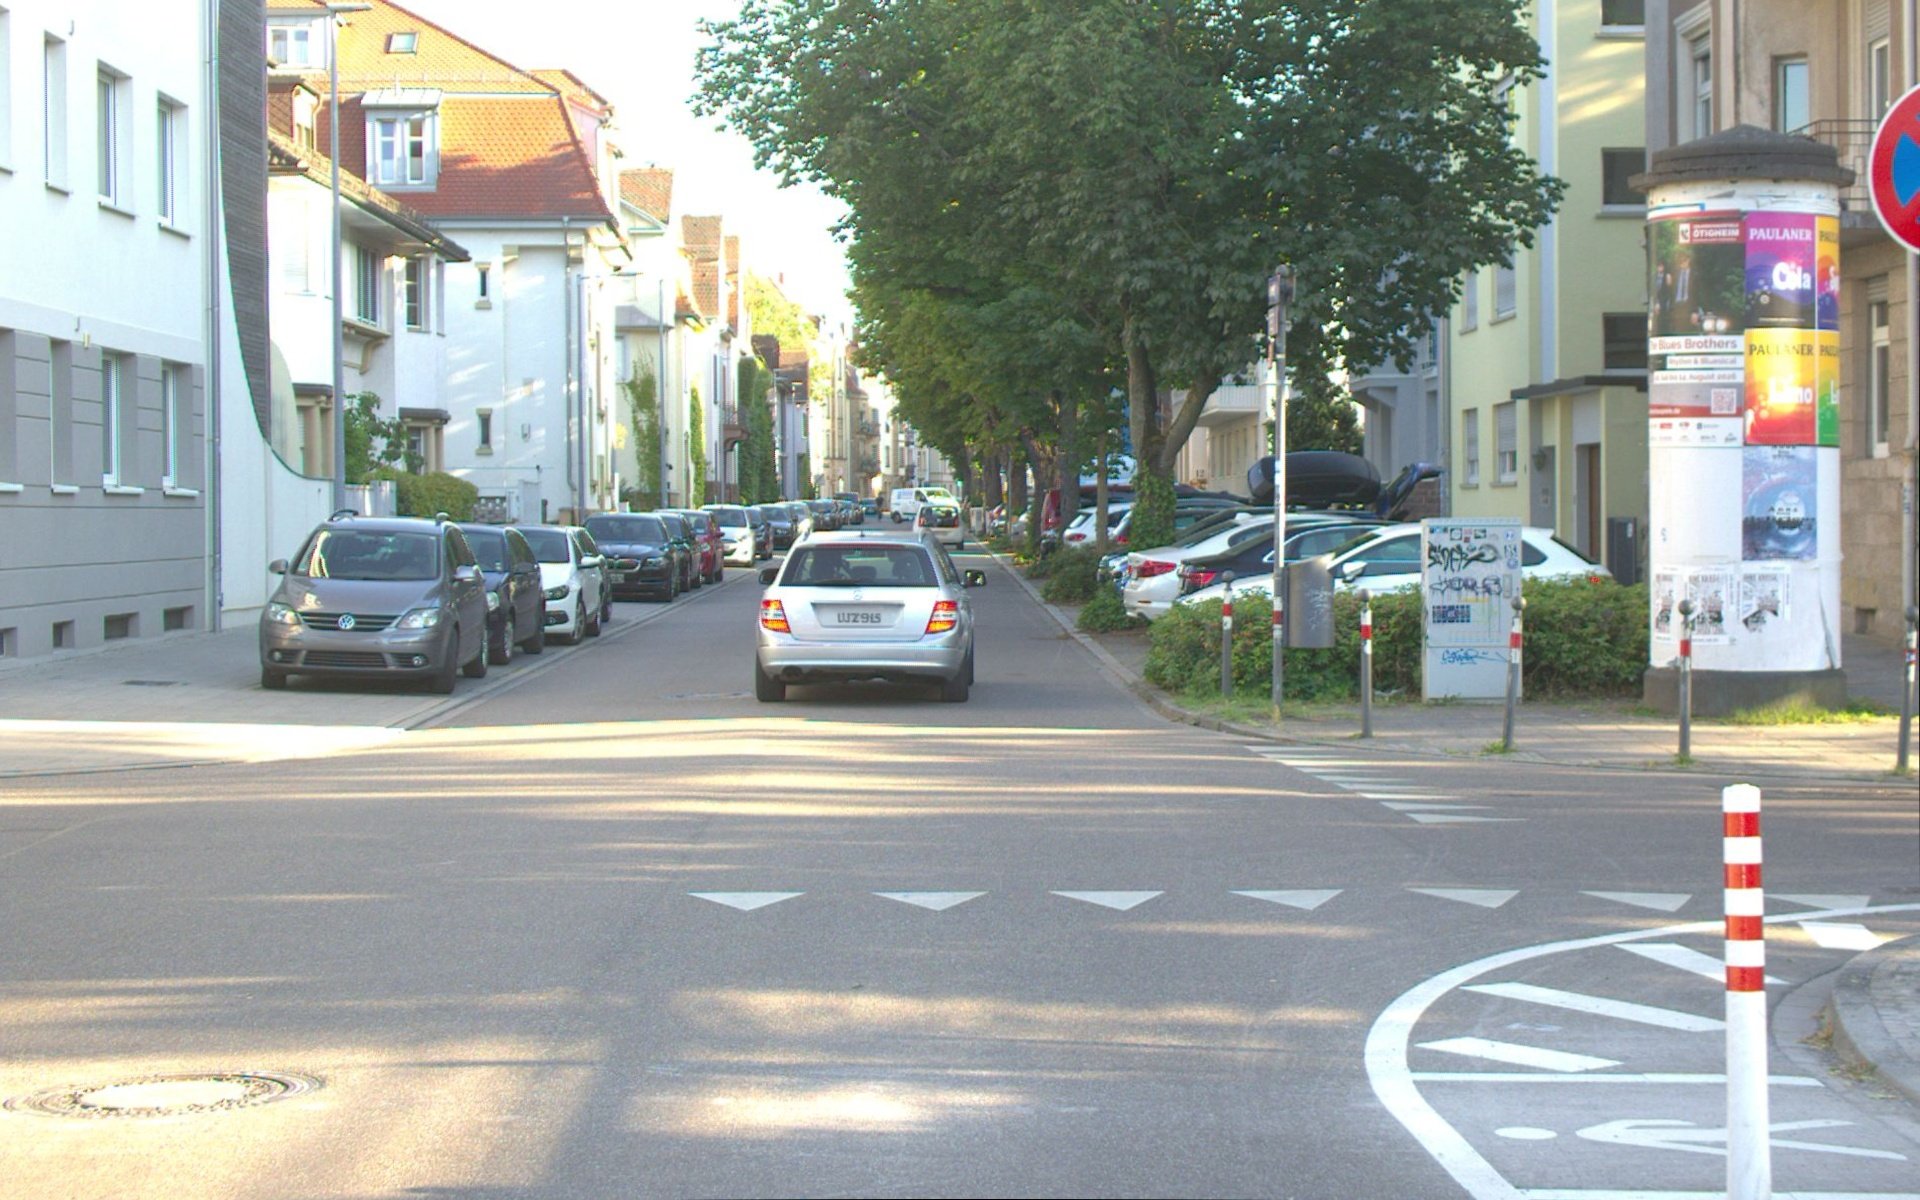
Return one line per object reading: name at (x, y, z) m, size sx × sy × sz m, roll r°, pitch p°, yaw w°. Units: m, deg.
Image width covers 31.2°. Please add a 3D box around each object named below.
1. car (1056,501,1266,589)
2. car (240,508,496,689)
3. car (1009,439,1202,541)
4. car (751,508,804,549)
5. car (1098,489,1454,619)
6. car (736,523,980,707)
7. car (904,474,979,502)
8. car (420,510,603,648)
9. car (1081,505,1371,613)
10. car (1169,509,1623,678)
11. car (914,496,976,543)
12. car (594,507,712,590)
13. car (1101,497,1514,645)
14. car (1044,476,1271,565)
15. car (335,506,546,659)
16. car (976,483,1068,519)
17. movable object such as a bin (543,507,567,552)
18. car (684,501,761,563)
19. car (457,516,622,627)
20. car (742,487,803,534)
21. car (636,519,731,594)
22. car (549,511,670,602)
car at (3.698, -1.028, 63.536) m, size 3.730 × 1.553 × 1.725 m, roll -1°, pitch 2°, yaw -1°
car at (-5.510, -0.072, 32.458) m, size 1.884 × 1.585 × 4.091 m, roll 0°, pitch 2°, yaw -3°
car at (4.332, -3.302, 102.990) m, size 5.541 × 2.958 × 2.472 m, roll -1°, pitch 2°, yaw -2°
car at (-6.845, -2.699, 129.189) m, size 1.799 × 1.477 × 3.857 m, roll 0°, pitch 2°, yaw 0°
car at (4.164, -0.634, 45.816) m, size 4.526 × 1.635 × 1.874 m, roll -1°, pitch 2°, yaw -1°
car at (-0.806, 0.080, 29.623) m, size 1.817 × 1.468 × 4.216 m, roll 0°, pitch 1°, yaw 2°
car at (-1.029, -6.072, 186.607) m, size 1.530 × 1.469 × 4.268 m, roll 0°, pitch 1°, yaw -44°
car at (-5.440, -0.298, 42.134) m, size 1.884 × 1.585 × 4.091 m, roll 0°, pitch 2°, yaw -3°
car at (3.986, -0.636, 52.001) m, size 4.190 × 1.553 × 1.874 m, roll -1°, pitch 2°, yaw -1°
car at (4.102, -0.083, 32.772) m, size 4.048 × 1.500 × 1.862 m, roll -1°, pitch 2°, yaw -1°
car at (-0.463, -2.558, 110.024) m, size 1.817 × 1.468 × 4.216 m, roll 0°, pitch 1°, yaw 2°
car at (-5.732, -0.994, 64.654) m, size 1.783 × 1.492 × 4.700 m, roll 0°, pitch 1°, yaw 0°
car at (4.024, -0.367, 40.256) m, size 4.476 × 1.520 × 1.955 m, roll -2°, pitch 3°, yaw -6°
car at (4.112, -1.678, 72.087) m, size 4.625 × 1.830 × 1.954 m, roll 0°, pitch 2°, yaw 0°
car at (-5.659, -0.240, 37.864) m, size 1.884 × 1.585 × 4.091 m, roll 0°, pitch 2°, yaw -3°
car at (2.634, -4.204, 145.971) m, size 3.844 × 1.477 × 1.805 m, roll 0°, pitch 2°, yaw 1°
movable object such as a bin at (-9.955, -1.731, 84.562) m, size 0.527 × 1.103 × 0.590 m, roll 0°, pitch 0°, yaw 0°
car at (-5.888, -1.710, 85.455) m, size 1.659 × 1.494 × 3.754 m, roll 0°, pitch 1°, yaw 0°
car at (-5.719, -0.428, 47.135) m, size 1.758 × 1.442 × 4.142 m, roll 0°, pitch 1°, yaw 0°
car at (-6.150, -2.957, 113.105) m, size 1.799 × 1.477 × 3.857 m, roll 0°, pitch 2°, yaw 0°
car at (-5.685, -0.917, 70.996) m, size 1.659 × 1.483 × 3.754 m, roll 0°, pitch 1°, yaw 0°
car at (-5.960, -0.779, 58.872) m, size 1.854 × 1.492 × 4.656 m, roll 0°, pitch 1°, yaw -3°
